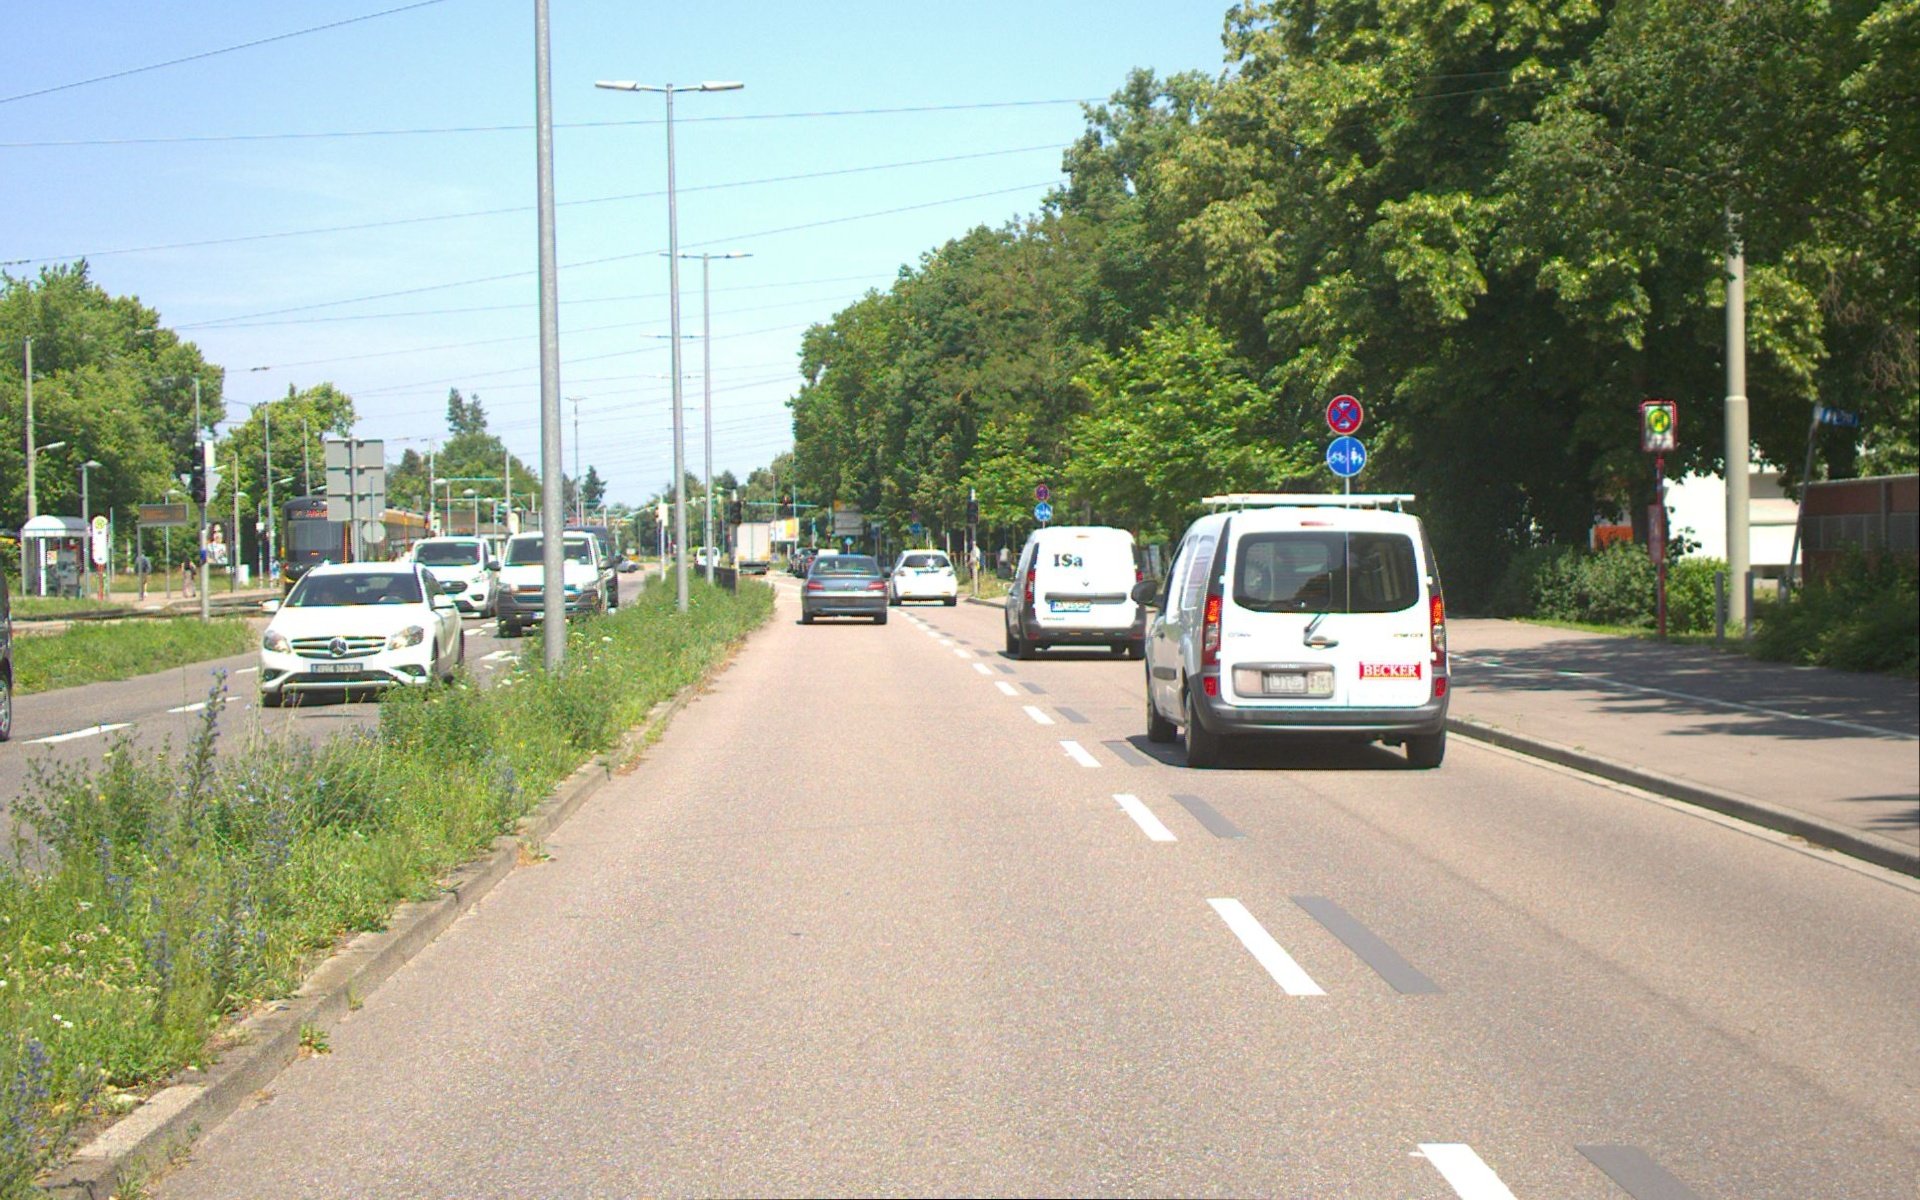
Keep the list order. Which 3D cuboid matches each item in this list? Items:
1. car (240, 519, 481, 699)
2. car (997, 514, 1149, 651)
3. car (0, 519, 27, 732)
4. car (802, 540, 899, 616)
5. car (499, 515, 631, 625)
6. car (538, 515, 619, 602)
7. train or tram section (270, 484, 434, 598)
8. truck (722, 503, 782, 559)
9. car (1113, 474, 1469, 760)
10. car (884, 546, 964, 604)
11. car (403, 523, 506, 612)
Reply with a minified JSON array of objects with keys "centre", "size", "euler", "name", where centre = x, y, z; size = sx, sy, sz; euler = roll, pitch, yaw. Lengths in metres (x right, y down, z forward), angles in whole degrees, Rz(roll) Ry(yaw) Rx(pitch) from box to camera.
[{"centre":[-6.309,0.049,36.593],"size":[1.830,1.733,4.038],"euler":[-2,1,-1],"name":"car"},{"centre":[1.514,-0.282,47.503],"size":[1.727,1.807,4.001],"euler":[0,1,-3],"name":"car"},{"centre":[-8.990,0.275,27.659],"size":[1.830,1.795,4.615],"euler":[-2,1,-3],"name":"car"},{"centre":[-2.240,-0.470,69.575],"size":[1.801,1.481,4.001],"euler":[0,1,-4],"name":"car"},{"centre":[-7.357,-0.590,64.472],"size":[1.830,1.900,5.567],"euler":[-2,1,-1],"name":"car"},{"centre":[-10.937,-1.214,98.795],"size":[1.993,2.358,5.374],"euler":[-2,1,-3],"name":"car"},{"centre":[-22.567,-2.199,130.158],"size":[2.787,3.655,37.525],"euler":[0,1,-5],"name":"train or tram section"},{"centre":[-14.983,-4.946,246.621],"size":[3.898,3.799,10.795],"euler":[-1,1,-5],"name":"truck"},{"centre":[2.275,0.077,24.817],"size":[1.824,1.875,4.456],"euler":[0,1,-4],"name":"car"},{"centre":[-0.996,-0.701,93.431],"size":[1.803,1.534,4.001],"euler":[0,1,-6],"name":"car"},{"centre":[-12.172,-0.813,83.047],"size":[1.888,2.010,5.083],"euler":[-3,1,-3],"name":"car"}]
